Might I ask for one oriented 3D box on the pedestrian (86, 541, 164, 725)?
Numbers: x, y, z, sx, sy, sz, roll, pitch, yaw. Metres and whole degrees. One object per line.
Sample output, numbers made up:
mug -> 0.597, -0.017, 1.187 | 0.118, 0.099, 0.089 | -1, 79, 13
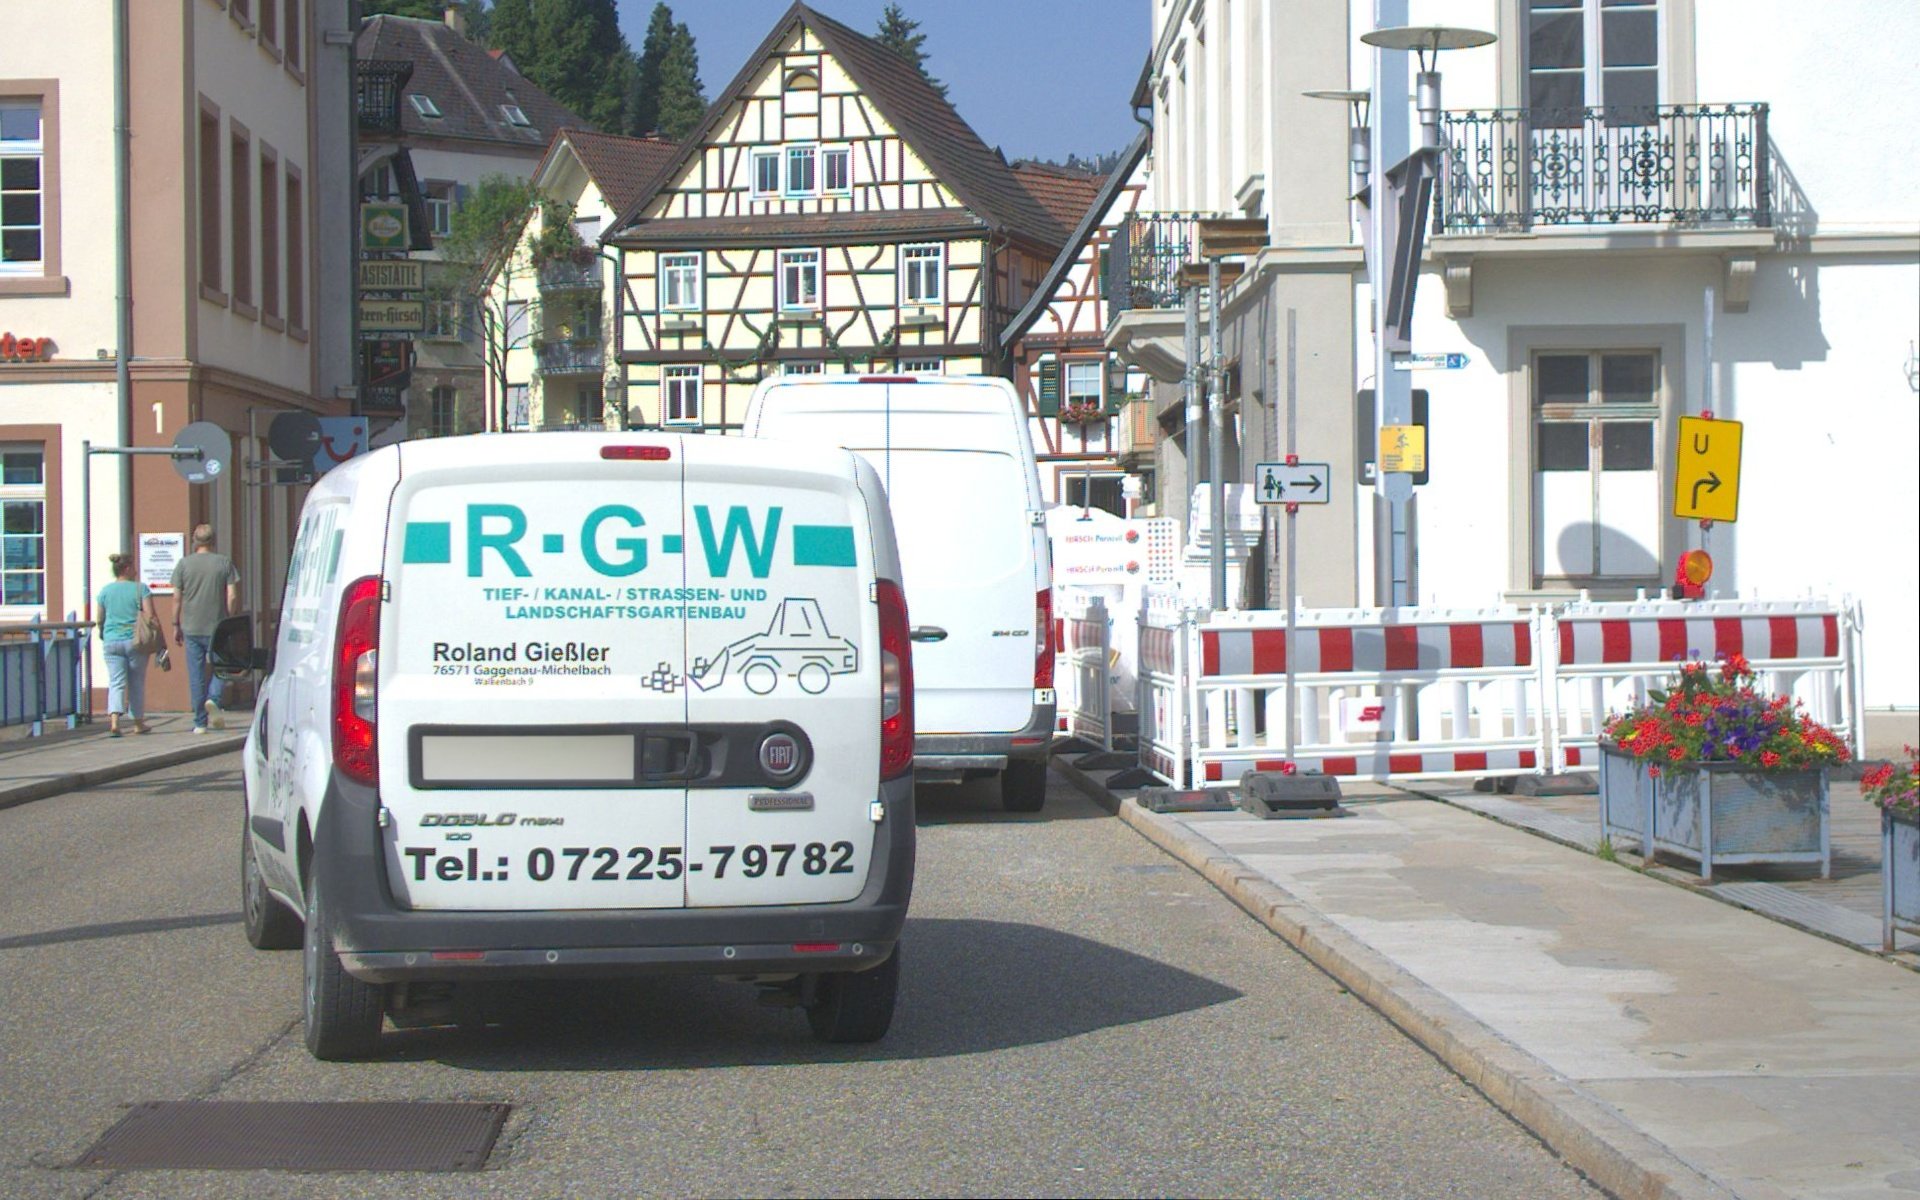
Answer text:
pedestrian -> -7.365, 0.283, 30.345 | 0.583, 1.604, 0.537 | 0, 1, -4

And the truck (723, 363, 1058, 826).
truck -> -0.498, -0.062, 21.318 | 1.861, 2.576, 4.261 | 0, 1, -3

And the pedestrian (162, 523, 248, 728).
pedestrian -> -6.614, 0.212, 30.137 | 0.614, 1.756, 0.864 | 0, 1, -4

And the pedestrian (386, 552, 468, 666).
pedestrian -> -7.832, 0.130, 50.559 | 1.073, 1.641, 0.686 | -1, 2, 0

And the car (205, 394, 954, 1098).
car -> -1.485, 0.363, 11.608 | 1.844, 1.899, 4.316 | 0, 1, -16
